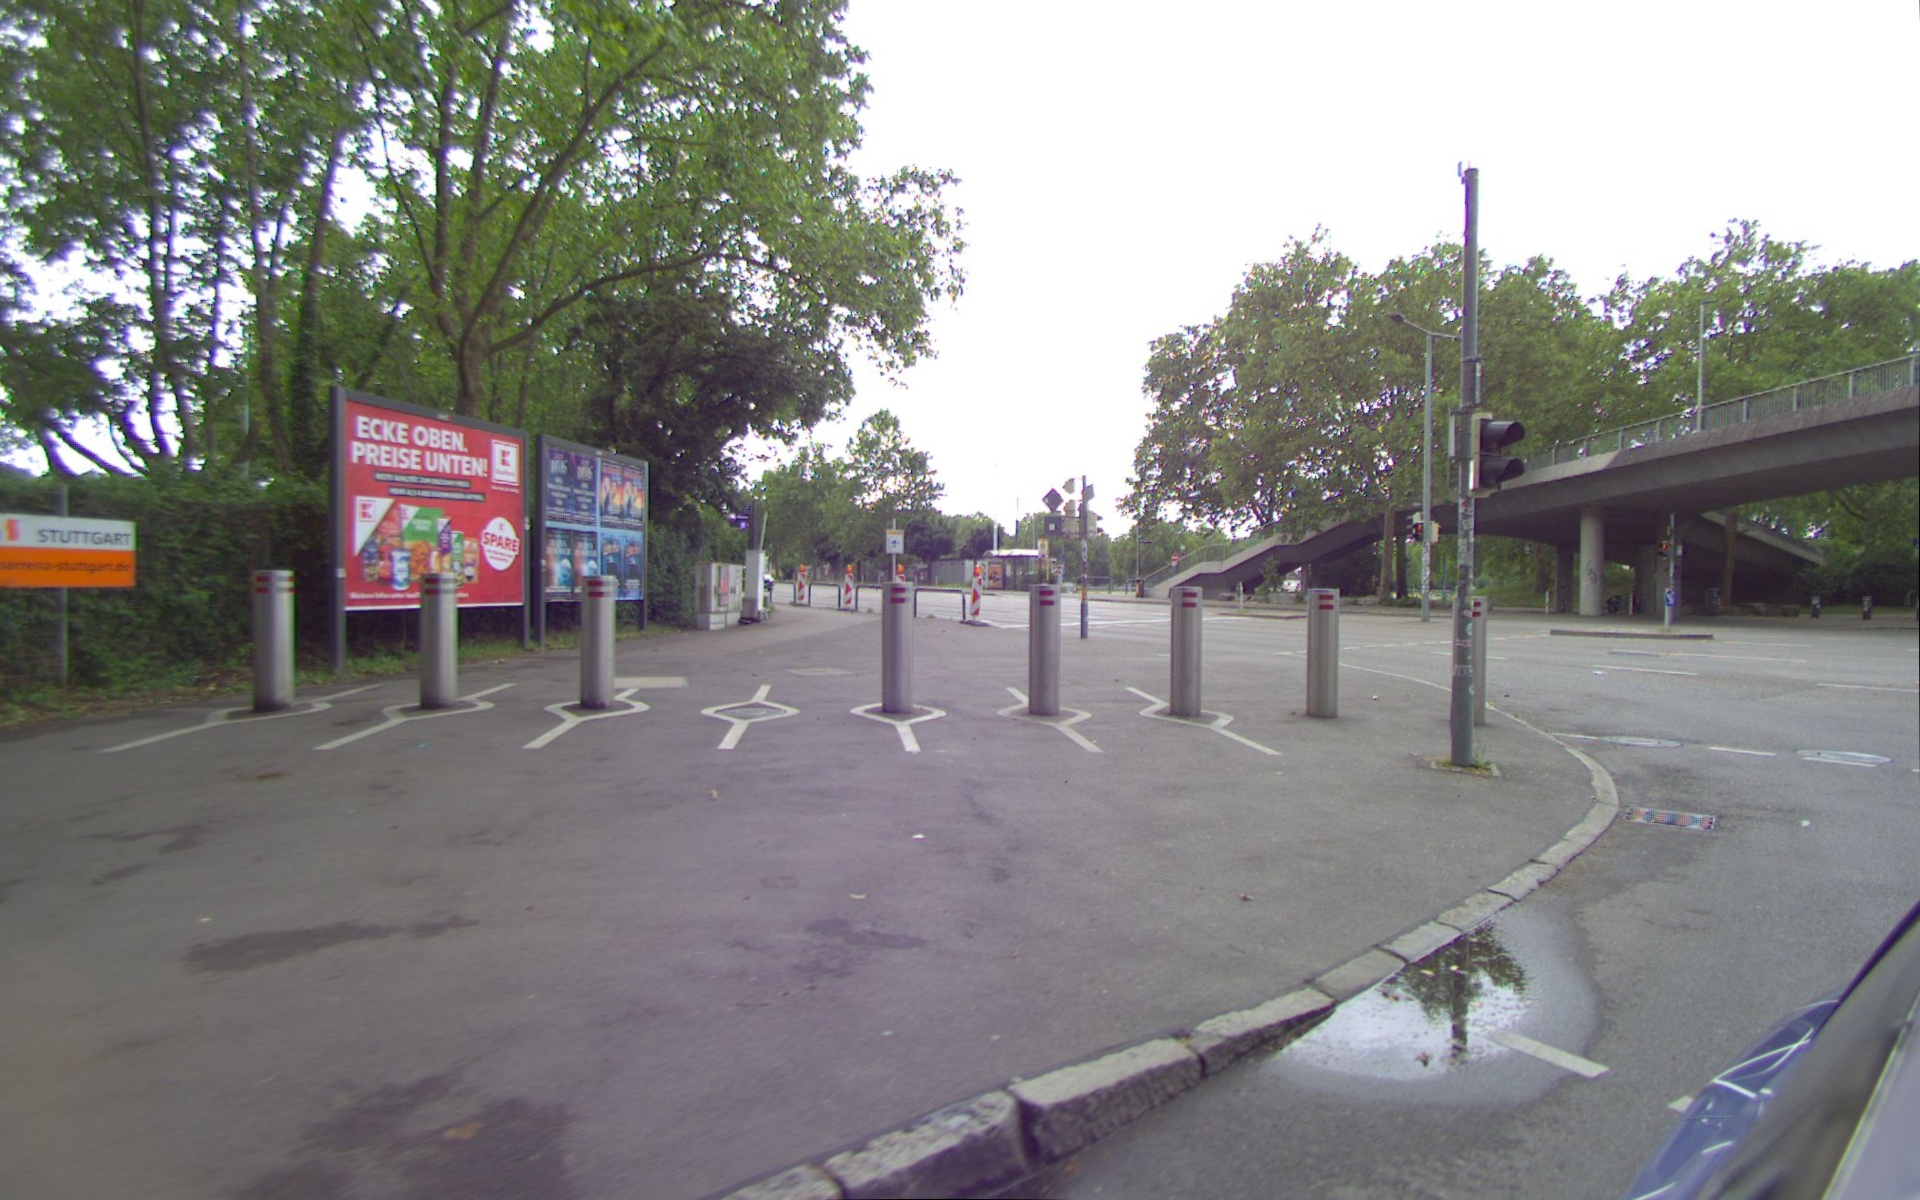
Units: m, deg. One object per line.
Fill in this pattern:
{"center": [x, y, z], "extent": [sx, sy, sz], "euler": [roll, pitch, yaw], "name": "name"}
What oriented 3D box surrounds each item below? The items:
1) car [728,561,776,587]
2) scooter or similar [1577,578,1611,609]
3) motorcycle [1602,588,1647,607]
{"center": [-12.833, -1.628, 62.279], "extent": [1.764, 1.529, 4.005], "euler": [0, 2, -29], "name": "car"}
{"center": [29.407, -0.305, 46.948], "extent": [0.409, 1.334, 1.229], "euler": [1, 3, -30], "name": "scooter or similar"}
{"center": [32.041, -0.110, 48.795], "extent": [0.636, 0.862, 1.741], "euler": [0, 2, -24], "name": "motorcycle"}
